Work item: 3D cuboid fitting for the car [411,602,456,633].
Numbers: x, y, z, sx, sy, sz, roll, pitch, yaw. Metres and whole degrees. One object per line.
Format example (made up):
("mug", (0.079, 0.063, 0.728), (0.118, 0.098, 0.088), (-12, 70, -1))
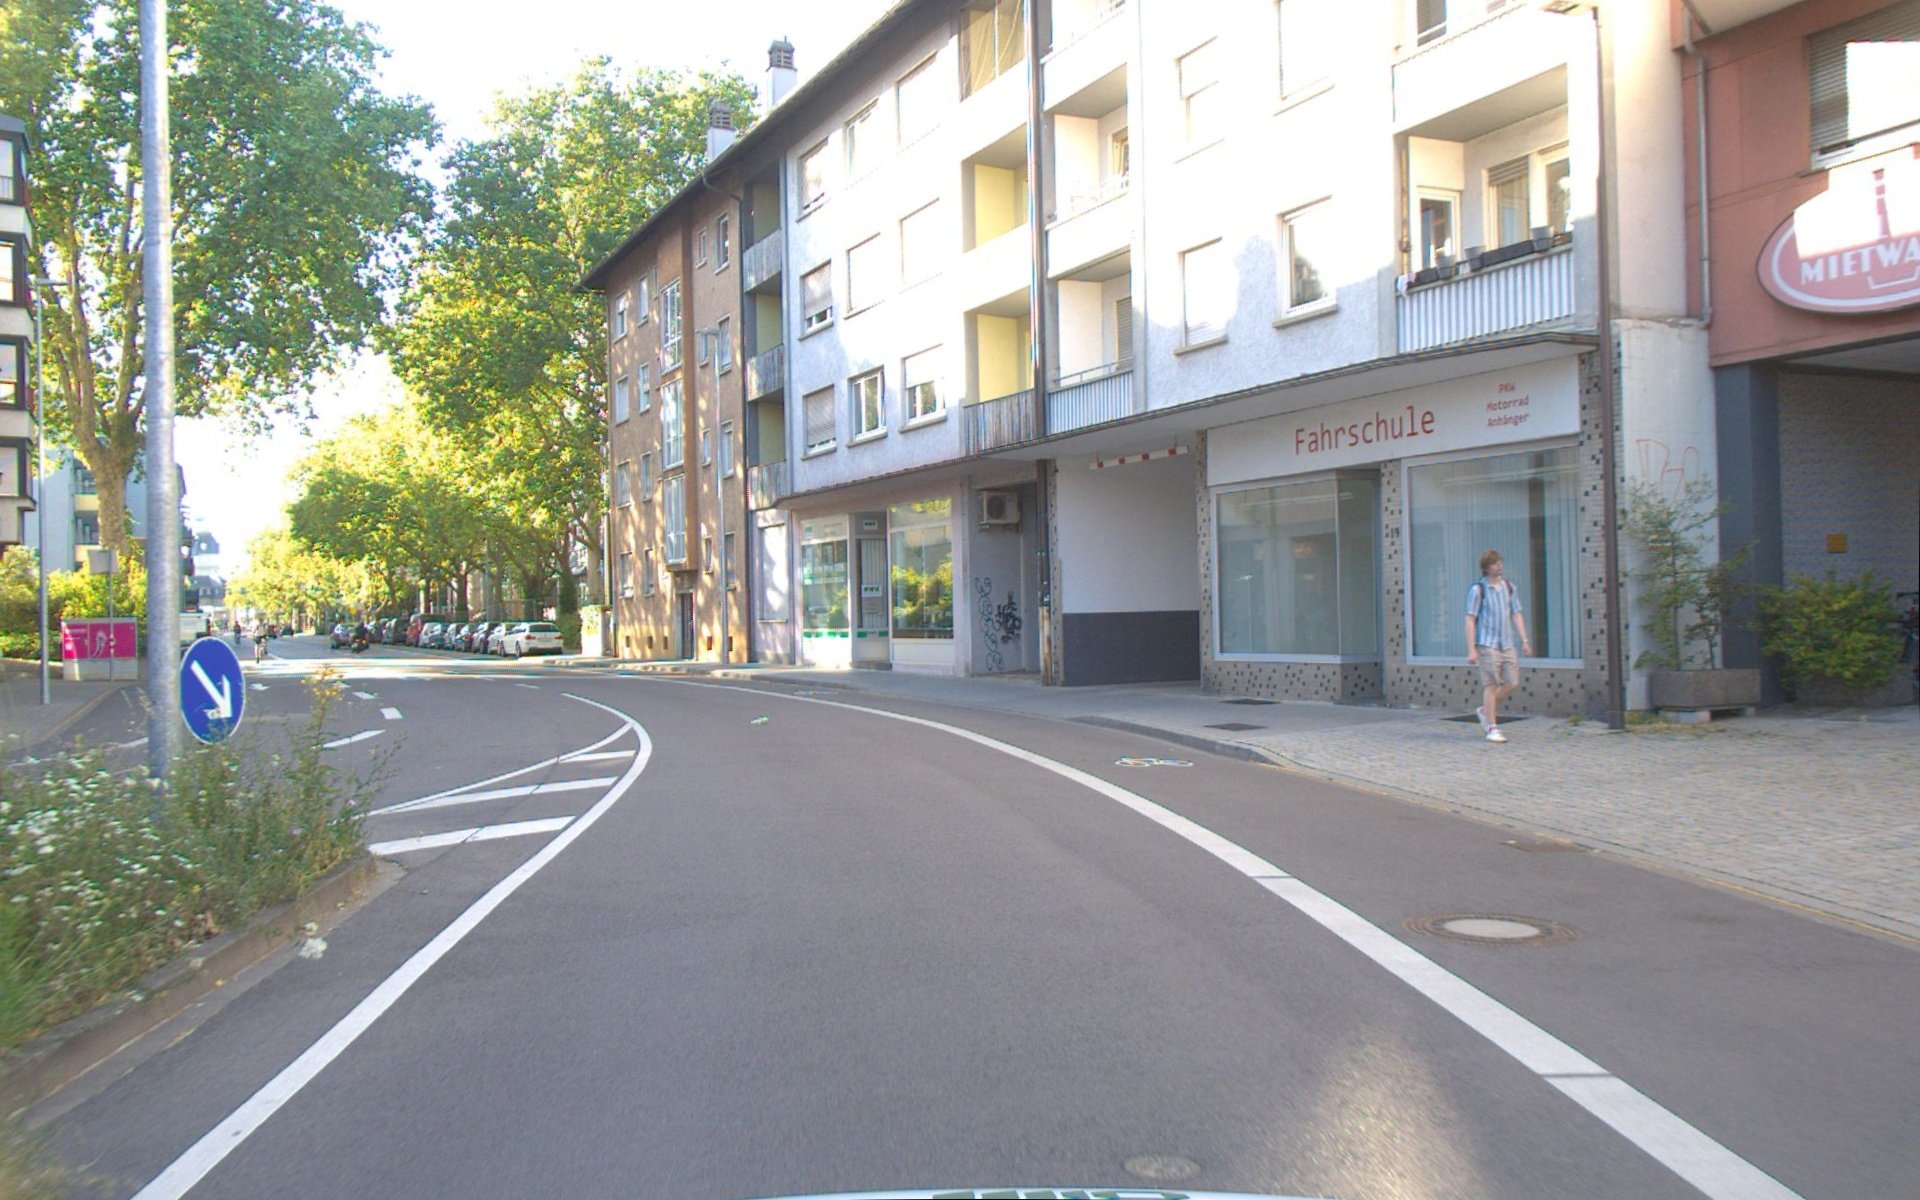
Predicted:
("car", (-31.439, 1.008, 98.727), (2.008, 1.749, 4.060), (-1, 0, -25))

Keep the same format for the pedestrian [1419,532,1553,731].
("pedestrian", (5.237, 0.309, 16.497), (0.722, 1.886, 0.940), (-4, 0, -26))

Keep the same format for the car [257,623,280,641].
("car", (-74.209, 3.446, 177.442), (2.008, 1.772, 4.060), (-2, 0, -25))

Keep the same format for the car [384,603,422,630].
("car", (-38.098, 1.120, 113.051), (2.008, 1.772, 4.060), (-1, 0, -25))

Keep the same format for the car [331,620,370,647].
("car", (-34.972, 1.915, 94.859), (1.898, 1.413, 3.970), (-1, 0, -24))

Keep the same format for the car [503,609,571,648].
("car", (-17.857, 1.194, 69.699), (2.008, 1.531, 4.060), (-2, 0, -25))

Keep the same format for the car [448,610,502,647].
("car", (-25.034, 1.494, 85.327), (2.008, 1.790, 4.060), (-2, 0, -25))

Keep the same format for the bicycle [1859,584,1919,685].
("bicycle", (10.429, 0.361, 17.499), (0.488, 1.056, 1.625), (-1, 0, -25))

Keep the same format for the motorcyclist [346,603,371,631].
("motorcyclist", (-29.250, 0.824, 80.457), (0.961, 1.371, 1.125), (0, 0, -32))

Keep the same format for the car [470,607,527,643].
("car", (-22.384, 1.224, 80.112), (2.008, 1.645, 4.060), (-2, 0, -25))

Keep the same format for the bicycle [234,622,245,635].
("bicycle", (-50.686, 1.995, 116.379), (0.536, 0.857, 1.588), (-1, 0, -30))

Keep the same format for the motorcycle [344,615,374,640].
("motorcycle", (-29.258, 1.328, 80.484), (0.963, 1.151, 2.777), (0, 0, -29))

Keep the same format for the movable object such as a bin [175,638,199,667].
("movable object such as a bin", (-24.102, 1.637, 51.578), (0.677, 0.867, 0.575), (0, -1, -26))

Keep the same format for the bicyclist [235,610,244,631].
("bicyclist", (-50.718, 1.451, 116.421), (0.536, 1.418, 0.503), (-1, -1, -31))

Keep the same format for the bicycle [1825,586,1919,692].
("bicycle", (9.771, 0.390, 16.967), (0.488, 1.056, 1.625), (-1, 0, -25))

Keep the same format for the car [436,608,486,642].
("car", (-27.444, 1.374, 90.929), (2.008, 1.749, 4.060), (-2, 0, -25))

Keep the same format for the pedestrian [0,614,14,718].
("pedestrian", (-16.622, 1.133, 28.209), (0.796, 1.754, 0.769), (-1, -1, -29))

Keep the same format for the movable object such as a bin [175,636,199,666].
("movable object such as a bin", (-24.364, 1.602, 52.118), (0.677, 0.923, 0.575), (0, -1, -26))

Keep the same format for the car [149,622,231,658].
("car", (-41.885, 2.165, 89.993), (3.942, 1.773, 1.982), (-2, 0, -28))

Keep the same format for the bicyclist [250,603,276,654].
("bicyclist", (-27.312, 1.117, 64.835), (0.807, 1.981, 0.849), (-2, 0, -30))

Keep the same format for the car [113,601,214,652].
("car", (-38.350, 1.261, 79.645), (4.254, 2.264, 1.981), (-2, 0, -28))

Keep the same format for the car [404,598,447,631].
("car", (-33.181, 0.903, 102.694), (2.008, 1.968, 4.060), (-1, 0, -25))

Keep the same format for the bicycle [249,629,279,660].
("bicycle", (-27.299, 1.742, 64.849), (0.807, 1.159, 2.315), (-2, 0, -29))
